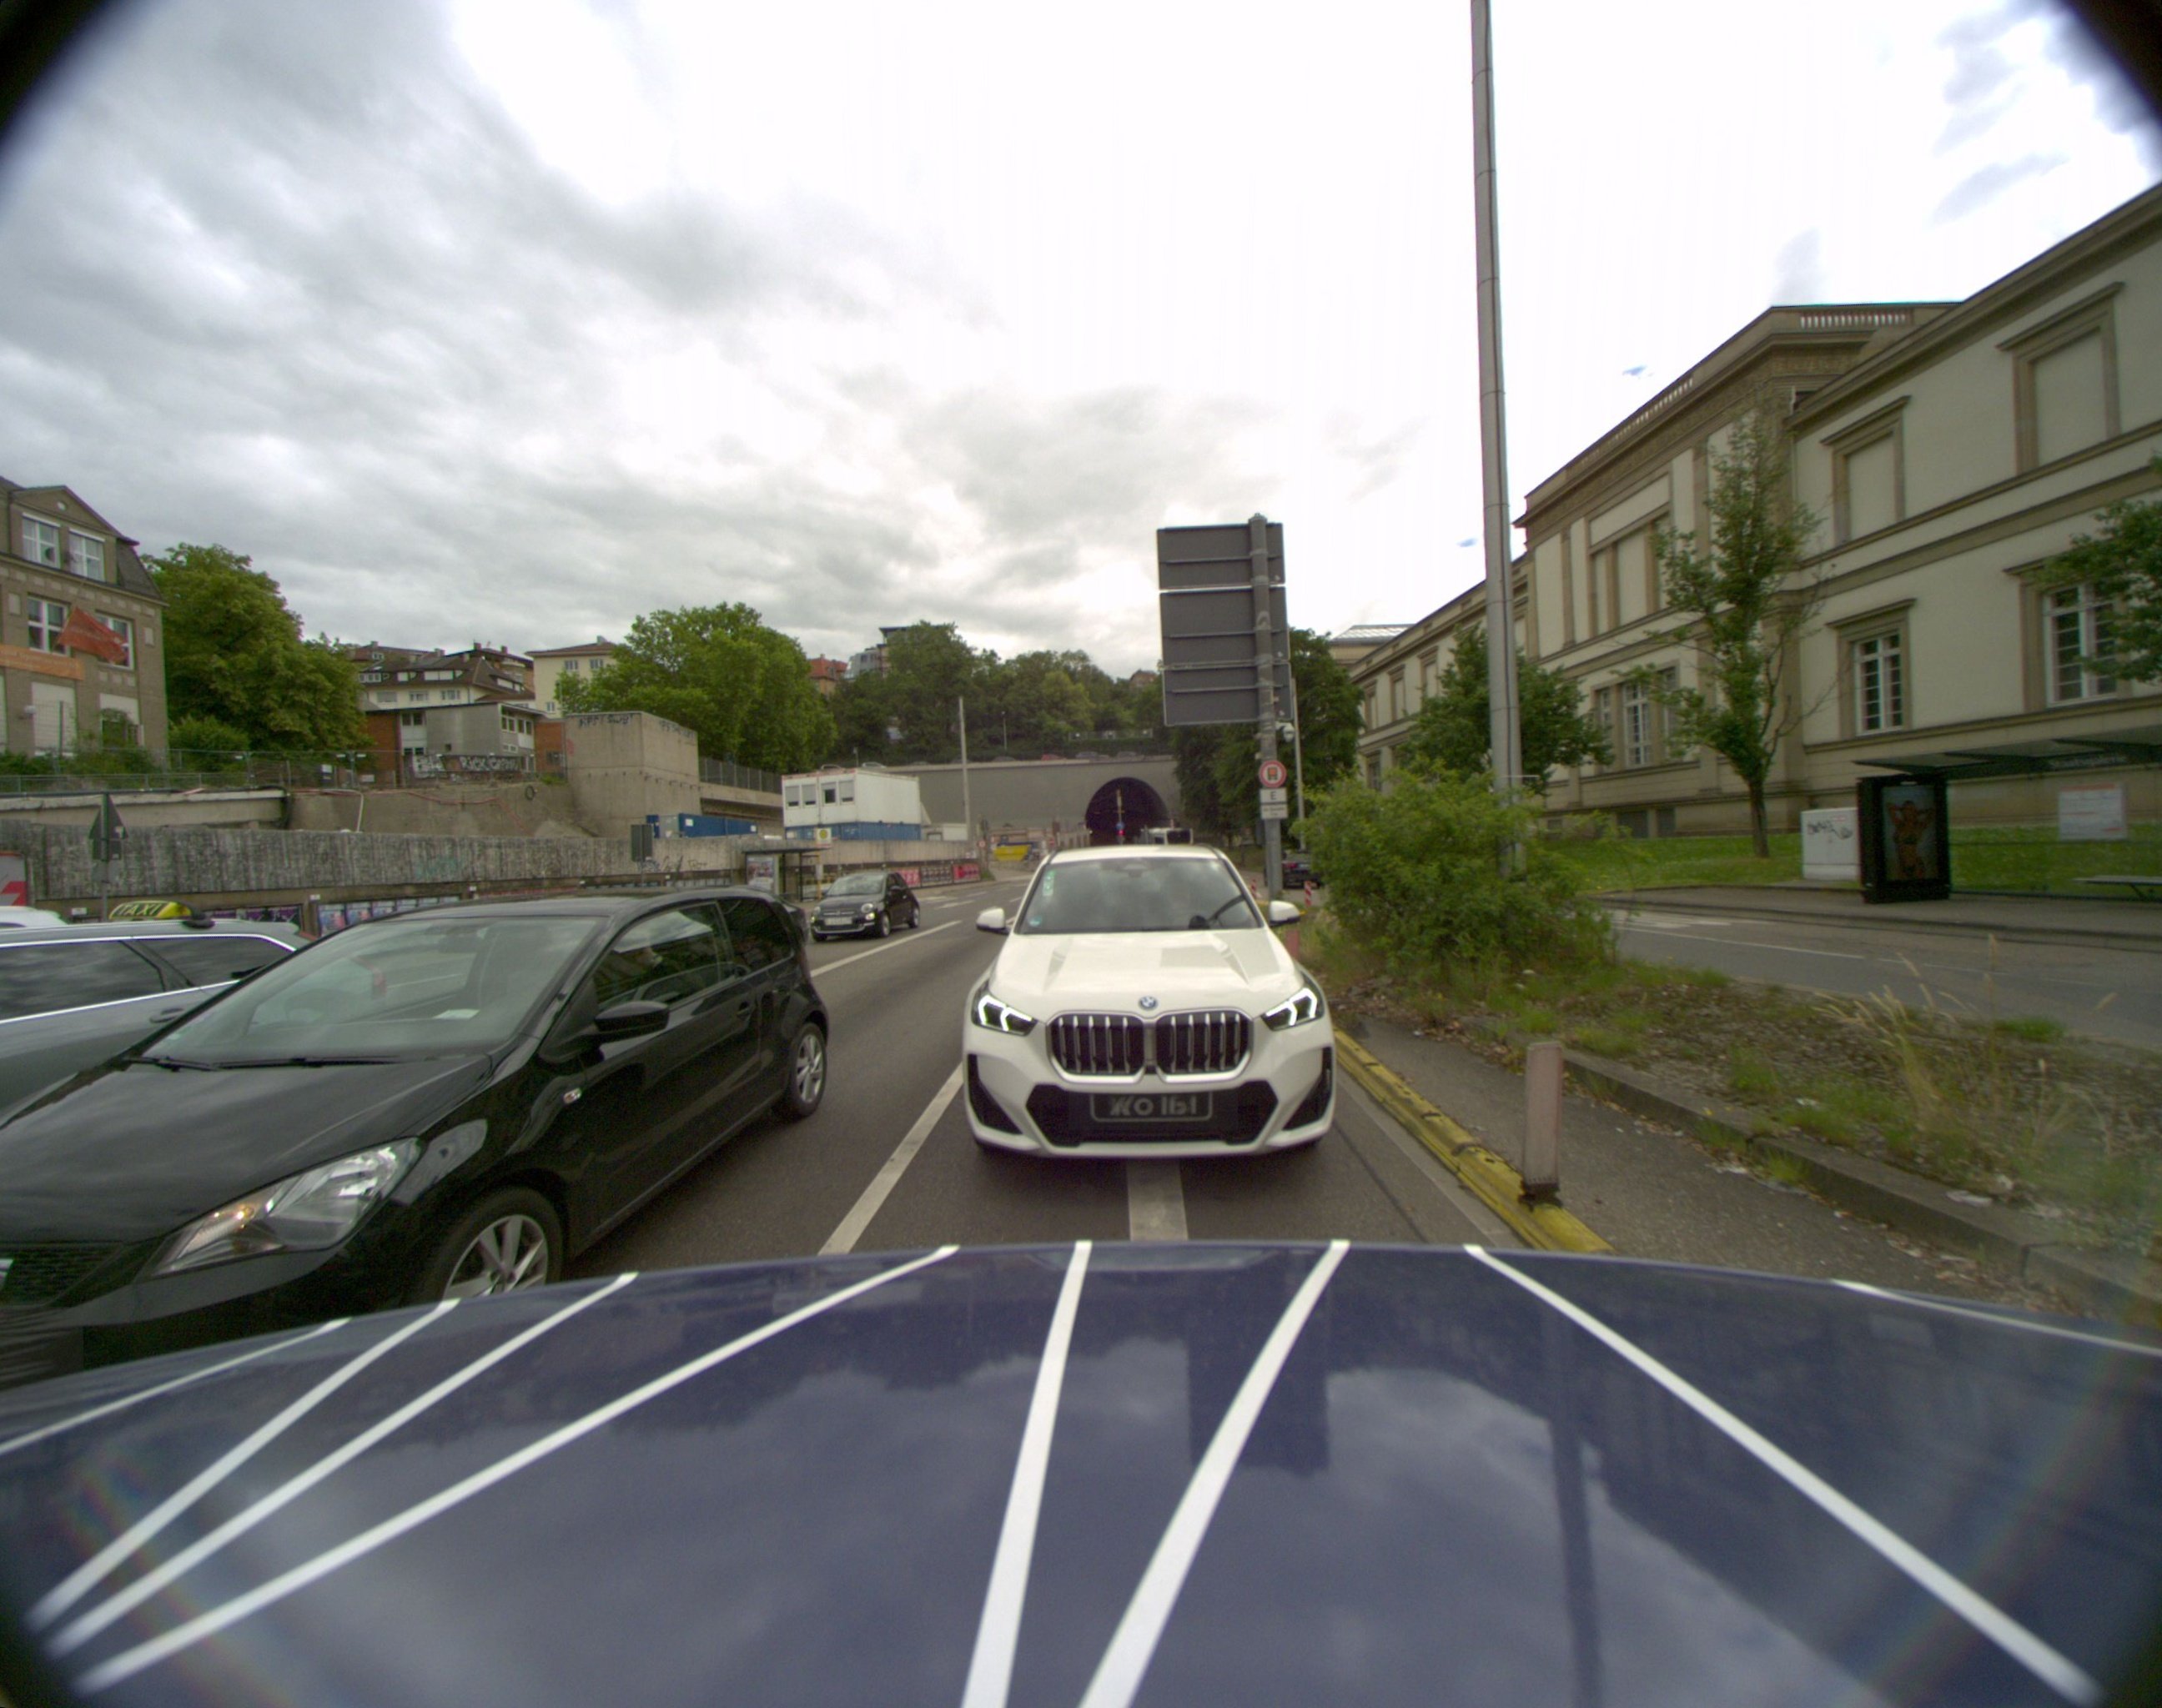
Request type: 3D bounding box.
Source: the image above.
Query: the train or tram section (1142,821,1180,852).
[{"bbox_3d":[8.419,-1.807,80.777,2.701,3.053,9.374,-1,0,-2],"label":"train or tram section"}]

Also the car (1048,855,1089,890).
[{"bbox_3d":[-0.600,0.916,39.043,1.948,1.565,3.999,-2,1,1],"label":"car"}]

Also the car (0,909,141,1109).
[{"bbox_3d":[-9.146,1.260,4.579,1.826,1.457,4.073,-2,1,0],"label":"car"}]

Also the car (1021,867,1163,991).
[{"bbox_3d":[0.227,0.992,11.597,1.756,1.427,3.911,-2,0,3],"label":"car"}]

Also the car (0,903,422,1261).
[{"bbox_3d":[-5.820,1.145,3.454,1.826,1.457,4.217,-2,1,2],"label":"car"}]

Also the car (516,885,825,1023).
[{"bbox_3d":[-5.394,1.227,10.760,1.826,1.356,4.219,-2,0,4],"label":"car"}]

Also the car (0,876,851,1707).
[{"bbox_3d":[-2.525,0.980,3.274,1.661,1.547,3.911,-2,1,3],"label":"car"}]

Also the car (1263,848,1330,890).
[{"bbox_3d":[9.184,0.575,32.713,1.884,1.616,4.372,-2,1,4],"label":"car"}]

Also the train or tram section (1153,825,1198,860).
[{"bbox_3d":[8.749,-0.991,71.433,2.701,3.053,9.334,-1,0,-2],"label":"train or tram section"}]

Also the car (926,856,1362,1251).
[{"bbox_3d":[0.344,0.850,5.121,1.756,1.547,3.911,-2,1,3],"label":"car"}]

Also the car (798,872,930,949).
[{"bbox_3d":[-4.928,1.232,17.816,1.720,1.450,3.782,-3,0,4],"label":"car"}]
